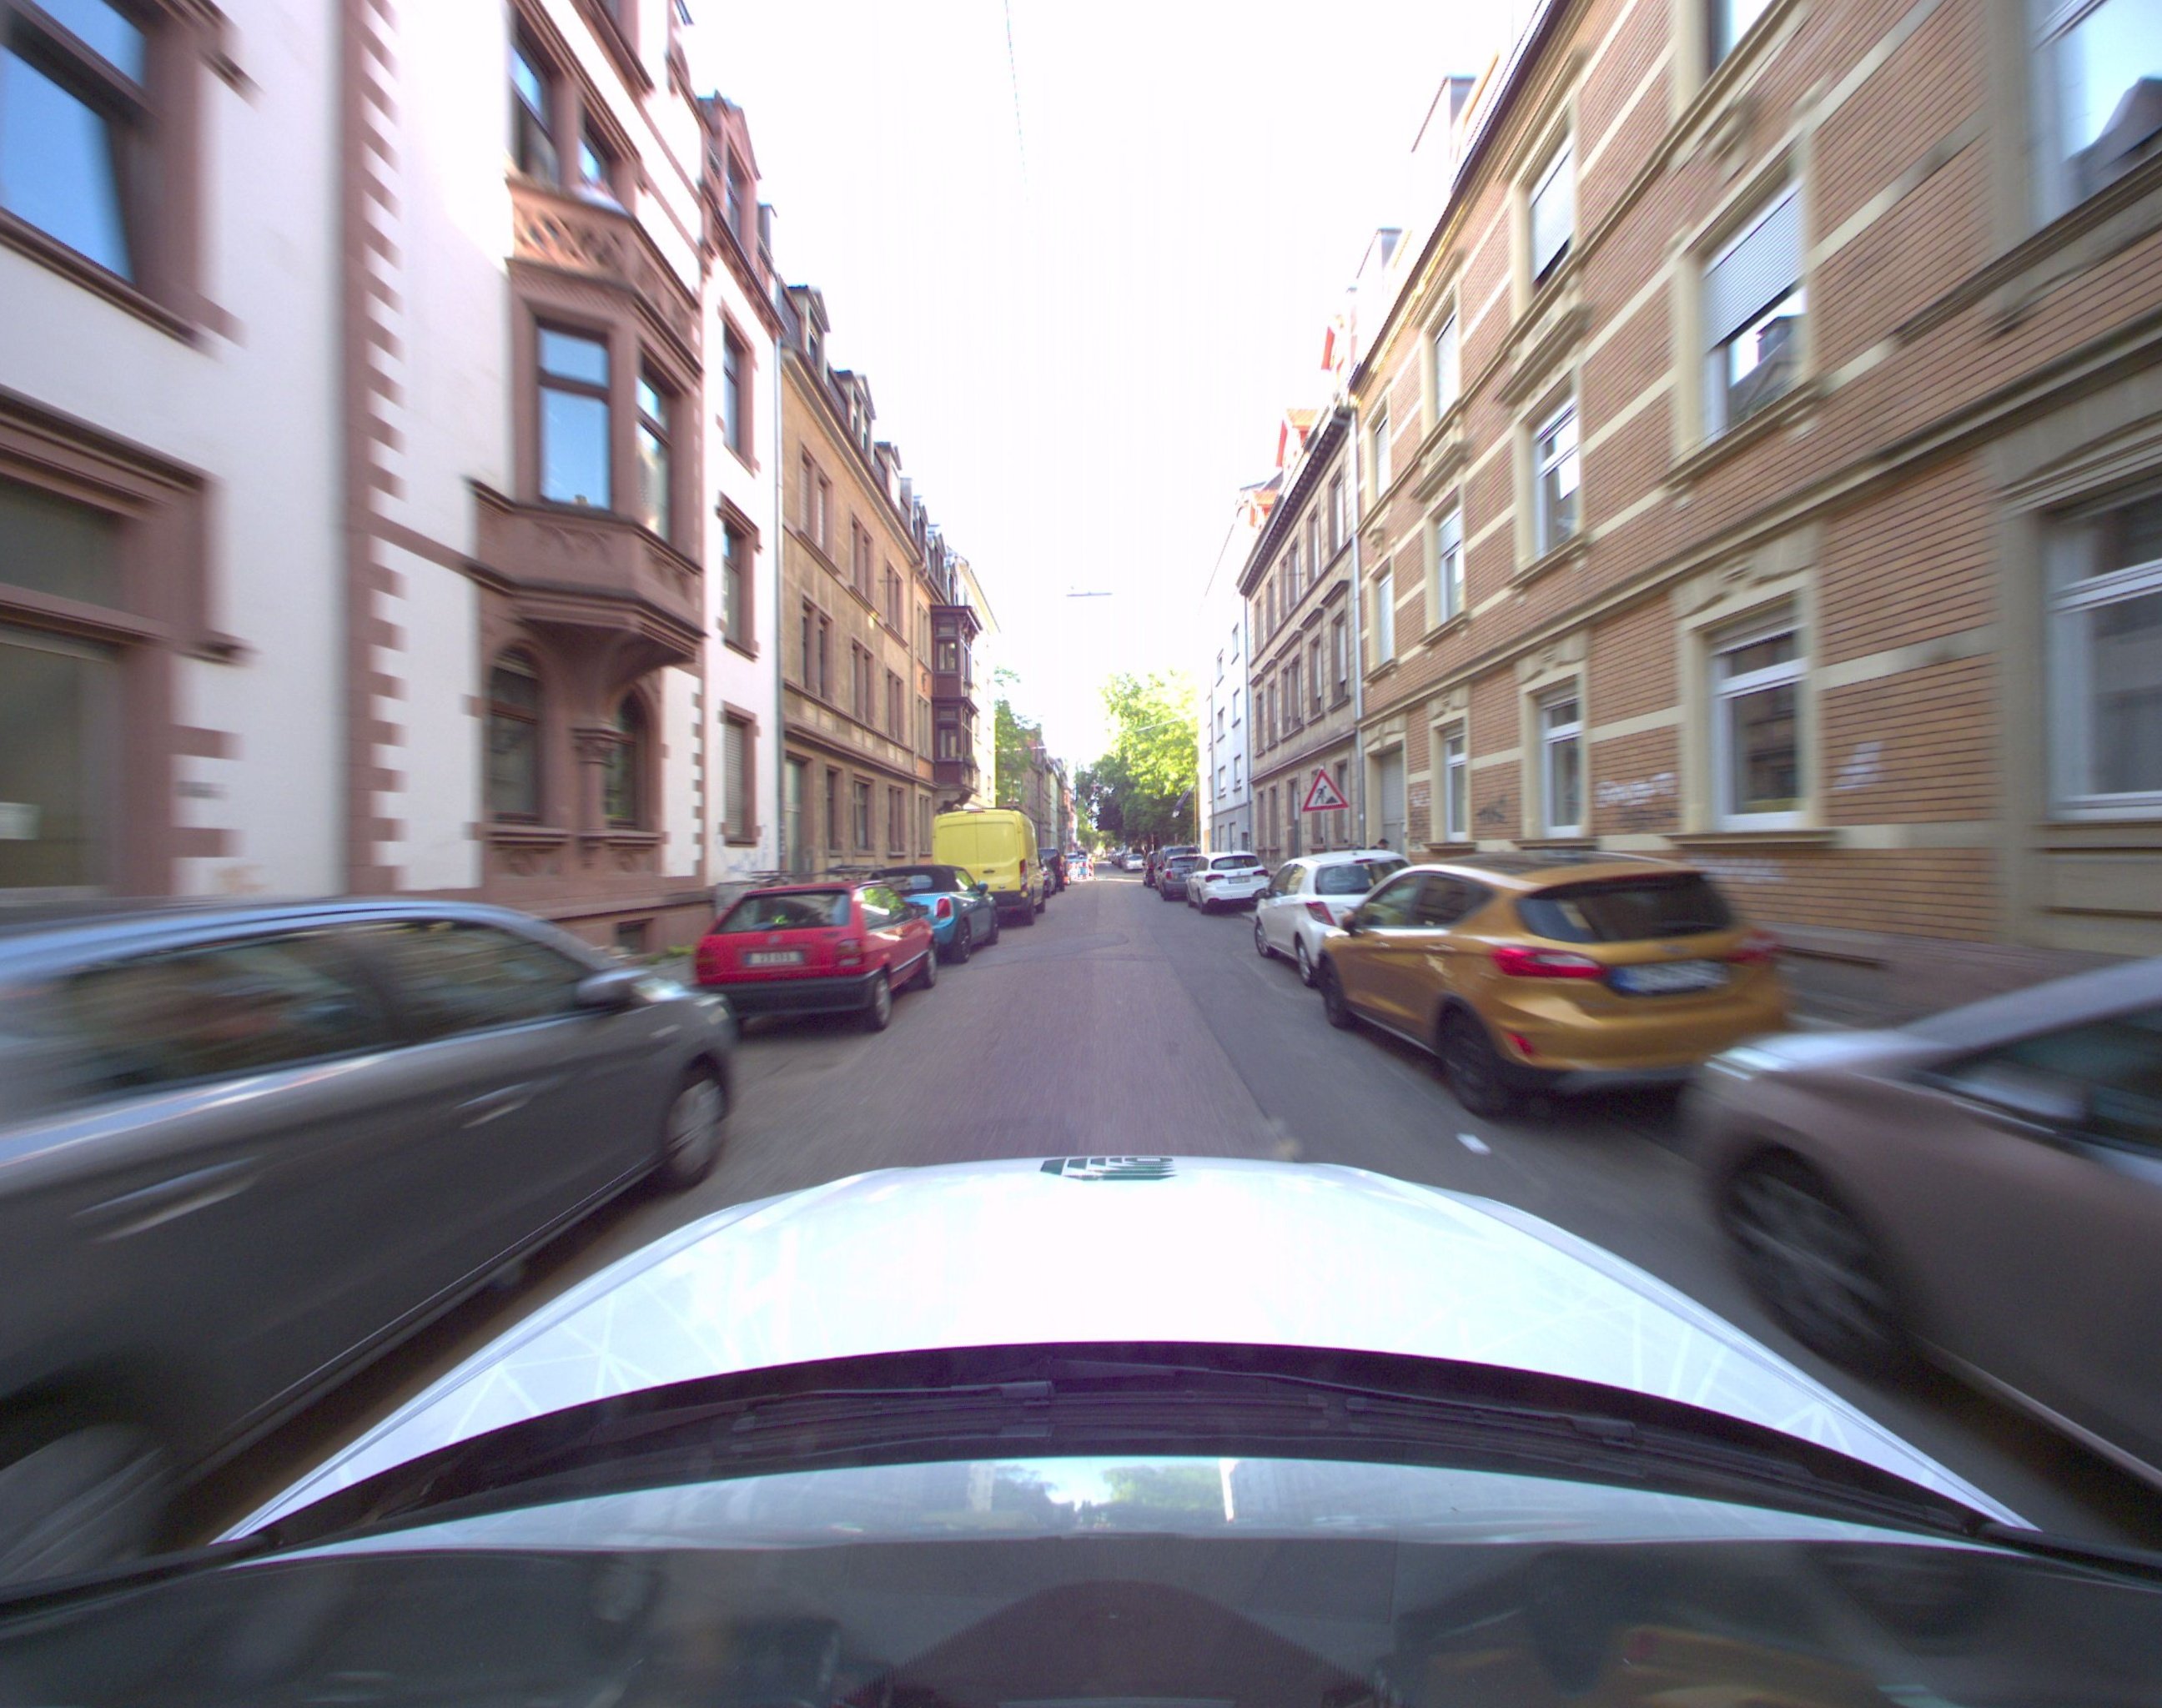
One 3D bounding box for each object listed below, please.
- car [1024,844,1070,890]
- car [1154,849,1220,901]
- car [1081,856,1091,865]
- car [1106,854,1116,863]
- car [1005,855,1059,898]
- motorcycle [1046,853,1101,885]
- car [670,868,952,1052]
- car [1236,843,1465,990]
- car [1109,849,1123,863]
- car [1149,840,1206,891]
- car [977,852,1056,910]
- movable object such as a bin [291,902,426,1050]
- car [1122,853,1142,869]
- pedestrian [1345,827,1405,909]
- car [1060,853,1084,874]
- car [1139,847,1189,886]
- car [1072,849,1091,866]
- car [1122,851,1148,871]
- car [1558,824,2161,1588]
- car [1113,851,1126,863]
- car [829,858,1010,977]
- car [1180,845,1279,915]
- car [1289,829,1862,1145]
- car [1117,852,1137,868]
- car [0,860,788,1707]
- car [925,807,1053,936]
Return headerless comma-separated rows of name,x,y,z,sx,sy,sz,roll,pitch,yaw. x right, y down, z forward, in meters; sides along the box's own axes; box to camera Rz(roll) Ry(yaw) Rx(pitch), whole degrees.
car,-1.402,0.529,34.507,1.813,1.766,4.333,-1,0,-1
car,3.514,0.649,27.645,1.747,1.452,4.291,-6,0,3
car,0.975,1.283,161.621,1.944,1.709,3.999,-1,-1,0
car,6.549,0.935,176.373,1.986,1.728,4.001,-2,0,1
car,-1.728,0.794,29.963,1.671,1.449,3.646,-1,0,1
motorcycle,-0.370,0.733,39.933,2.525,1.482,0.896,-1,0,-26
car,-2.506,0.899,8.495,1.612,1.326,3.612,-4,0,0
car,3.388,0.695,11.111,1.715,1.480,4.083,-5,0,1
car,5.943,0.408,138.832,2.153,2.255,4.525,-1,-1,0
car,3.839,0.425,33.080,1.747,1.786,4.725,-4,0,1
car,-1.873,0.759,24.950,1.987,1.552,4.000,-2,0,1
movable object such as a bin,-5.518,0.905,6.239,0.547,1.027,0.561,0,0,16
car,5.173,0.710,83.633,1.835,1.596,4.000,-1,0,1
pedestrian,6.074,0.299,16.836,0.659,1.630,0.870,-2,-1,-41
car,-0.792,0.856,73.461,1.874,1.707,4.002,-3,-1,2
car,3.793,0.549,37.752,1.894,1.640,4.391,-1,0,1
car,0.145,0.481,111.422,2.300,2.114,5.173,-1,0,2
car,4.434,0.583,67.272,1.719,1.522,3.998,-2,0,-1
car,2.969,0.692,1.453,1.720,1.417,4.093,-6,0,0
car,5.677,0.400,120.143,1.823,1.703,4.000,-1,0,0
car,-2.385,0.883,13.048,1.711,1.412,3.902,-6,0,4
car,3.832,0.609,21.750,1.748,1.518,4.443,-6,0,0
car,3.020,0.672,6.143,1.748,1.446,4.068,-5,0,0
car,4.970,0.634,88.469,1.888,1.625,4.000,-1,0,1
car,-2.637,0.838,2.740,1.688,1.474,3.920,-4,0,1
car,-1.992,0.357,19.717,2.167,2.507,5.879,-4,0,1
